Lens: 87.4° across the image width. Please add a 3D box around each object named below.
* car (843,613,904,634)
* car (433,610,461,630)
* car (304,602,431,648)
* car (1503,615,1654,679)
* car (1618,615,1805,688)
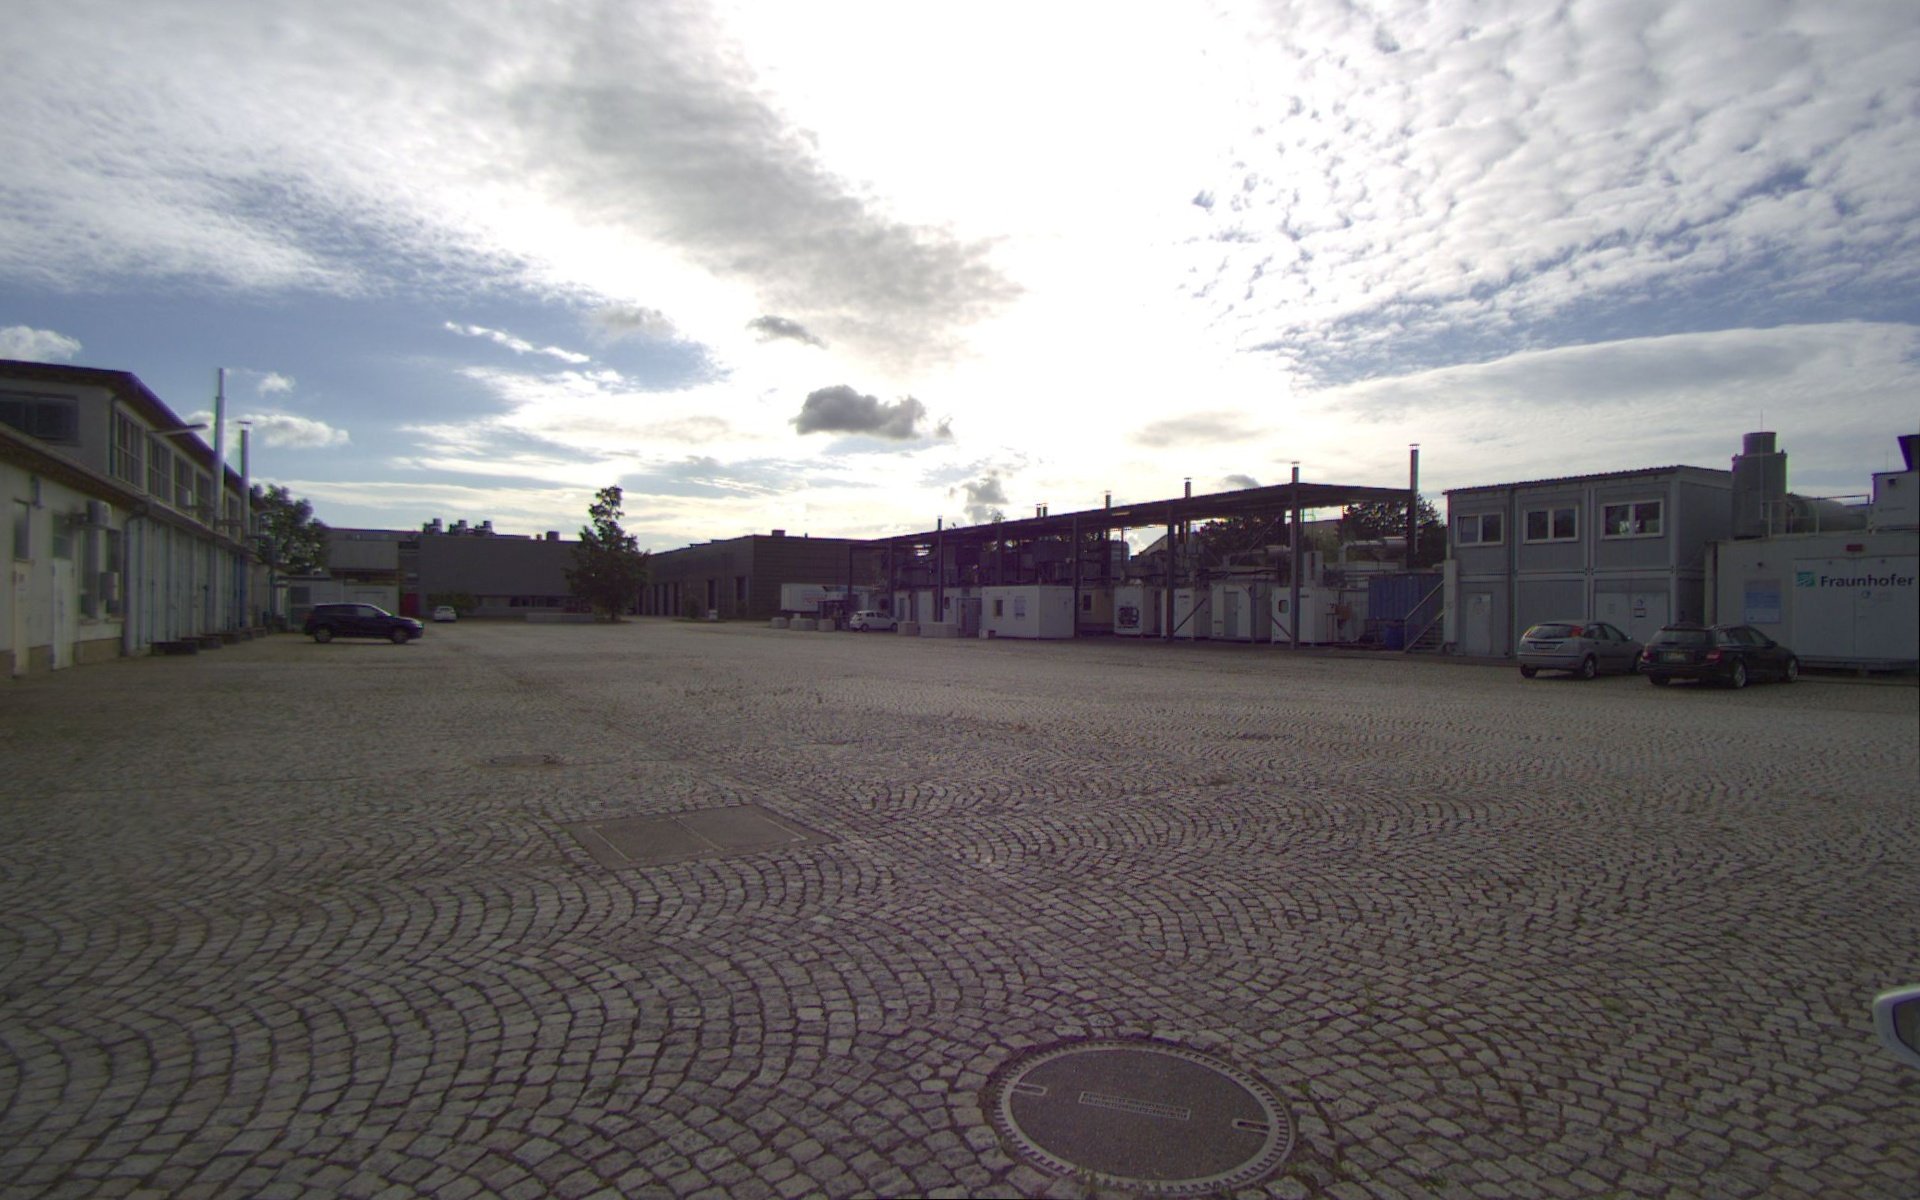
[{"bbox_3d":[-6.320,1.729,73.482,3.956,1.512,1.983,1,-1,-32],"label":"car"},{"bbox_3d":[-48.900,1.882,95.677,2.130,1.834,3.967,1,-1,-31],"label":"car"},{"bbox_3d":[-24.191,1.038,41.142,4.386,1.779,1.984,1,-3,-32],"label":"car"},{"bbox_3d":[16.494,1.198,26.730,4.002,1.495,1.896,-1,0,-33],"label":"car"},{"bbox_3d":[17.909,1.159,23.896,4.477,1.472,2.026,-1,0,-31],"label":"car"}]
